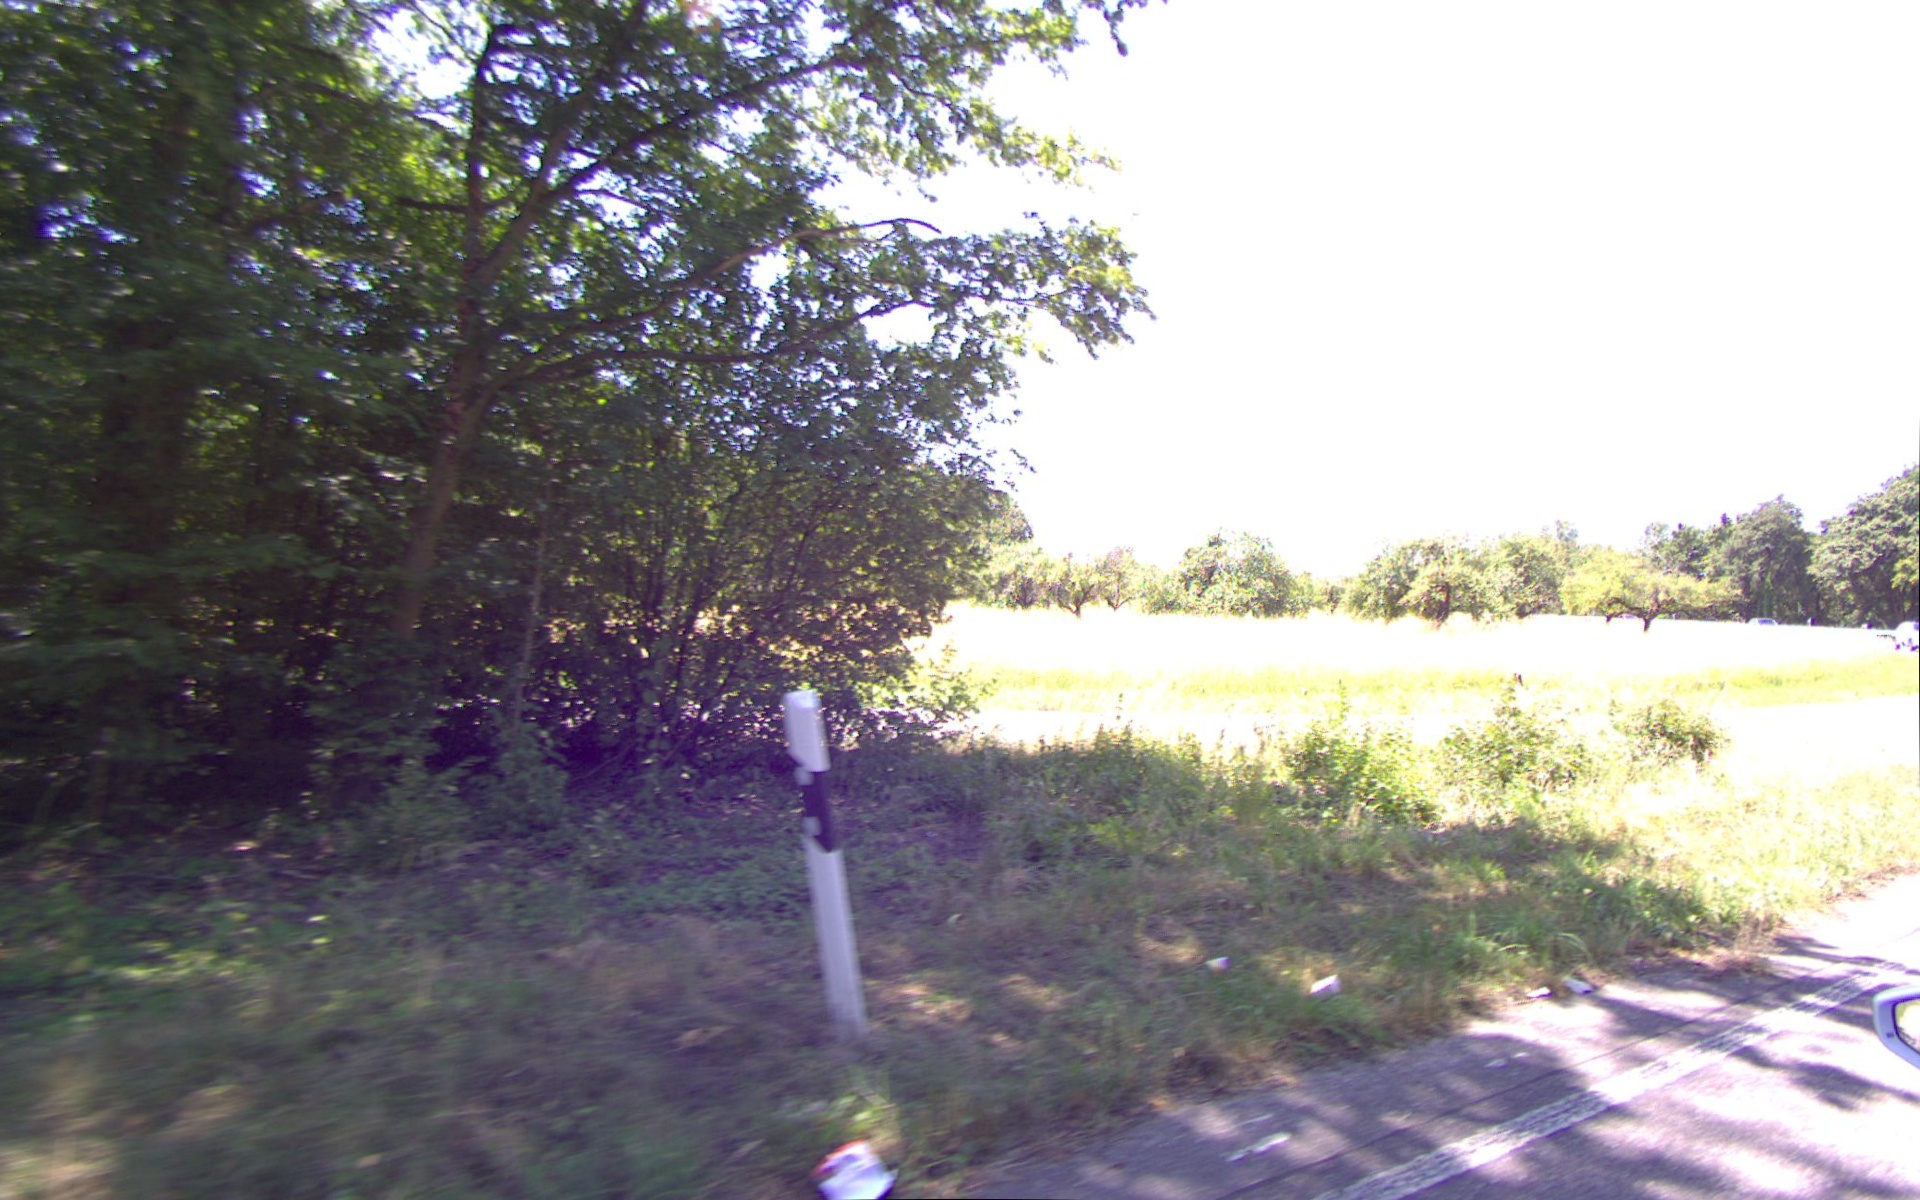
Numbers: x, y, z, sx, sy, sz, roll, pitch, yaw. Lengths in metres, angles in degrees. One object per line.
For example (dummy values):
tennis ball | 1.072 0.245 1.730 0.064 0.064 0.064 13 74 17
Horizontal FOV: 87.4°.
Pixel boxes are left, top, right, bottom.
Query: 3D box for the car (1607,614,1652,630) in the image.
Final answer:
car | 71.712 2.369 107.714 1.792 1.477 4.401 -1 -3 -1

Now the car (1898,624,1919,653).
car | 54.416 2.177 56.726 1.801 1.611 4.198 -3 -4 40

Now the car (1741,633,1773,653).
car | 65.363 3.485 82.434 1.711 1.527 4.061 2 -1 34
